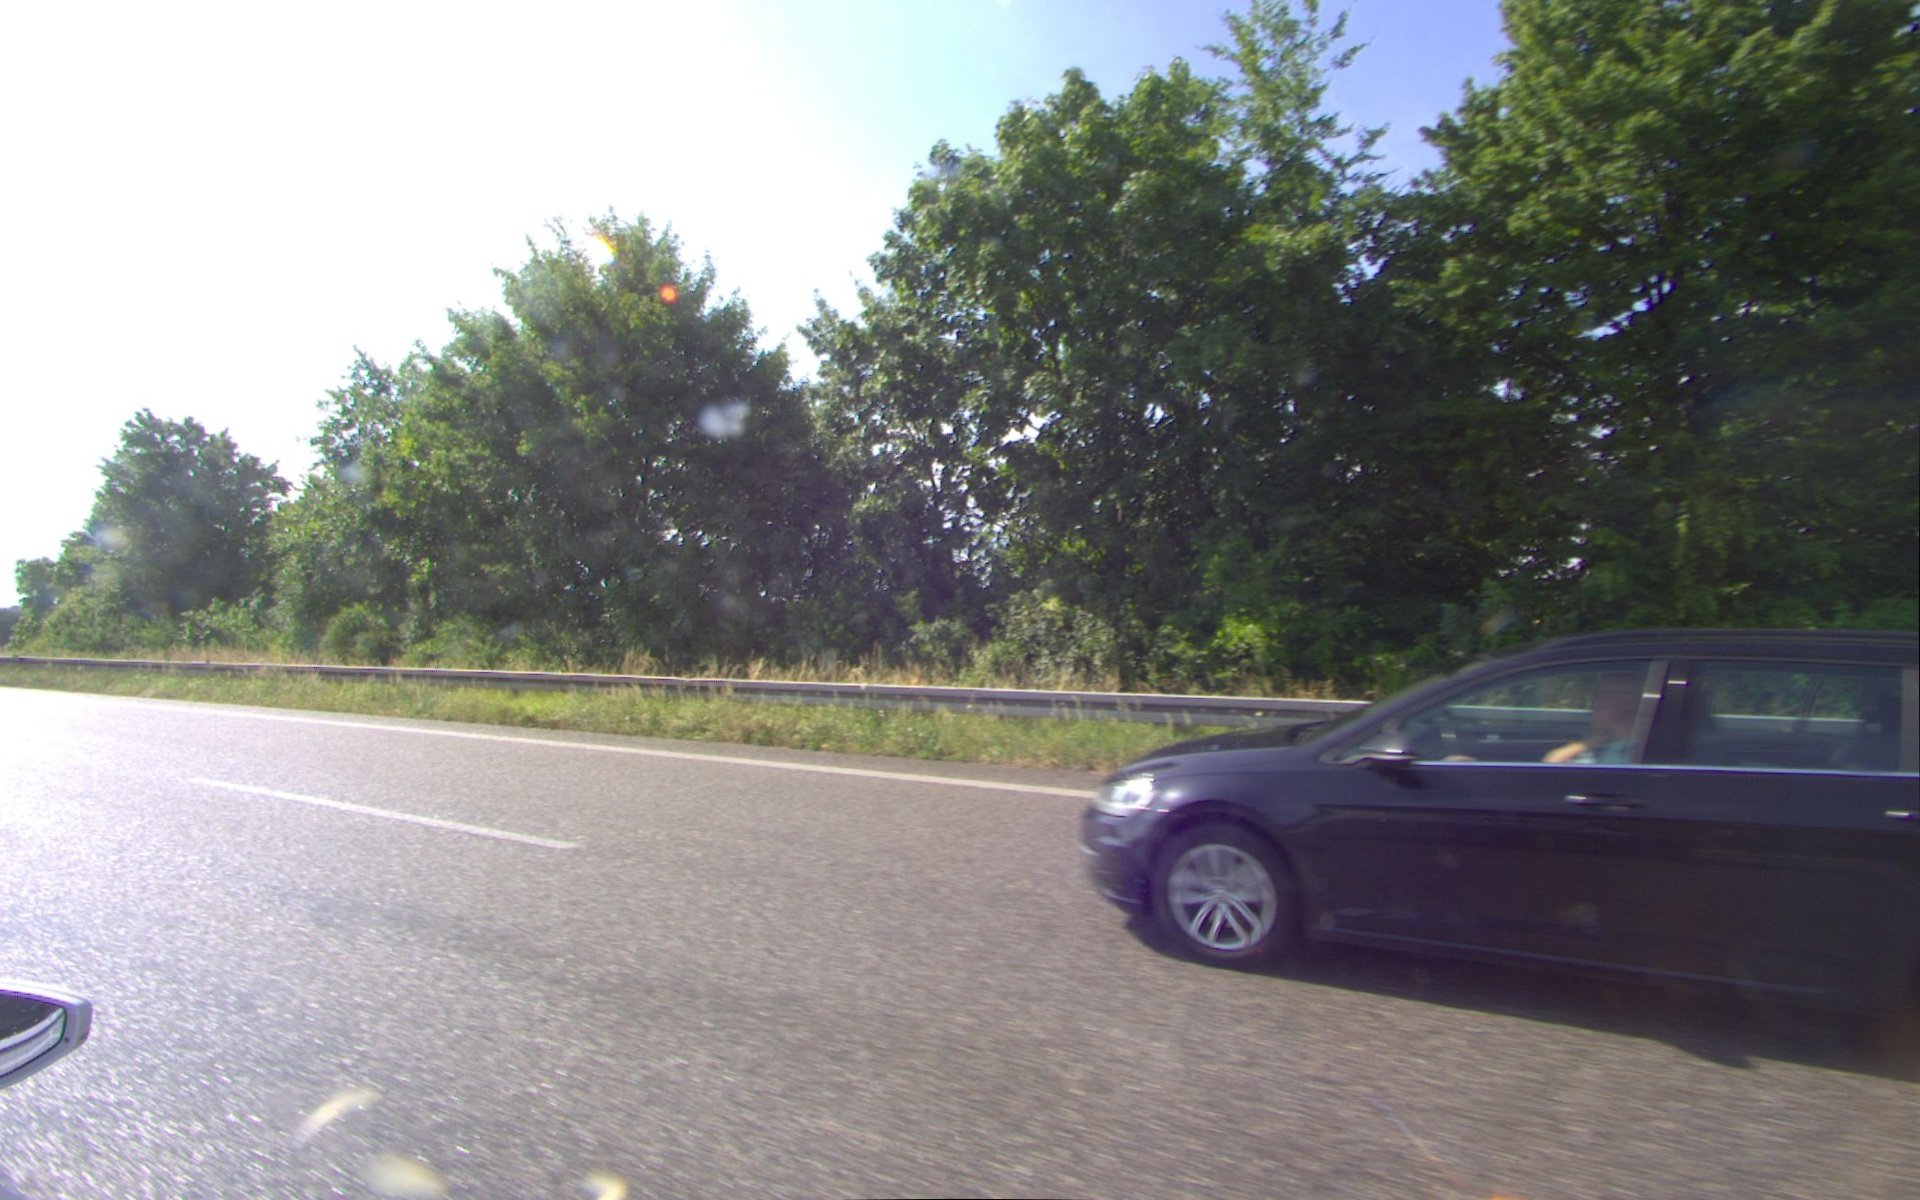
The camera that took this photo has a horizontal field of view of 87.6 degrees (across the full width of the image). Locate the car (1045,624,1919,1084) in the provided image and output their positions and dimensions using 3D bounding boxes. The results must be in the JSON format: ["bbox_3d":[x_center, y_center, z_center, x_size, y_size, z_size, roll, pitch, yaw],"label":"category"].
[{"bbox_3d":[2.698,0.828,4.320,4.337,1.449,1.742,-1,-1,28],"label":"car"}]
